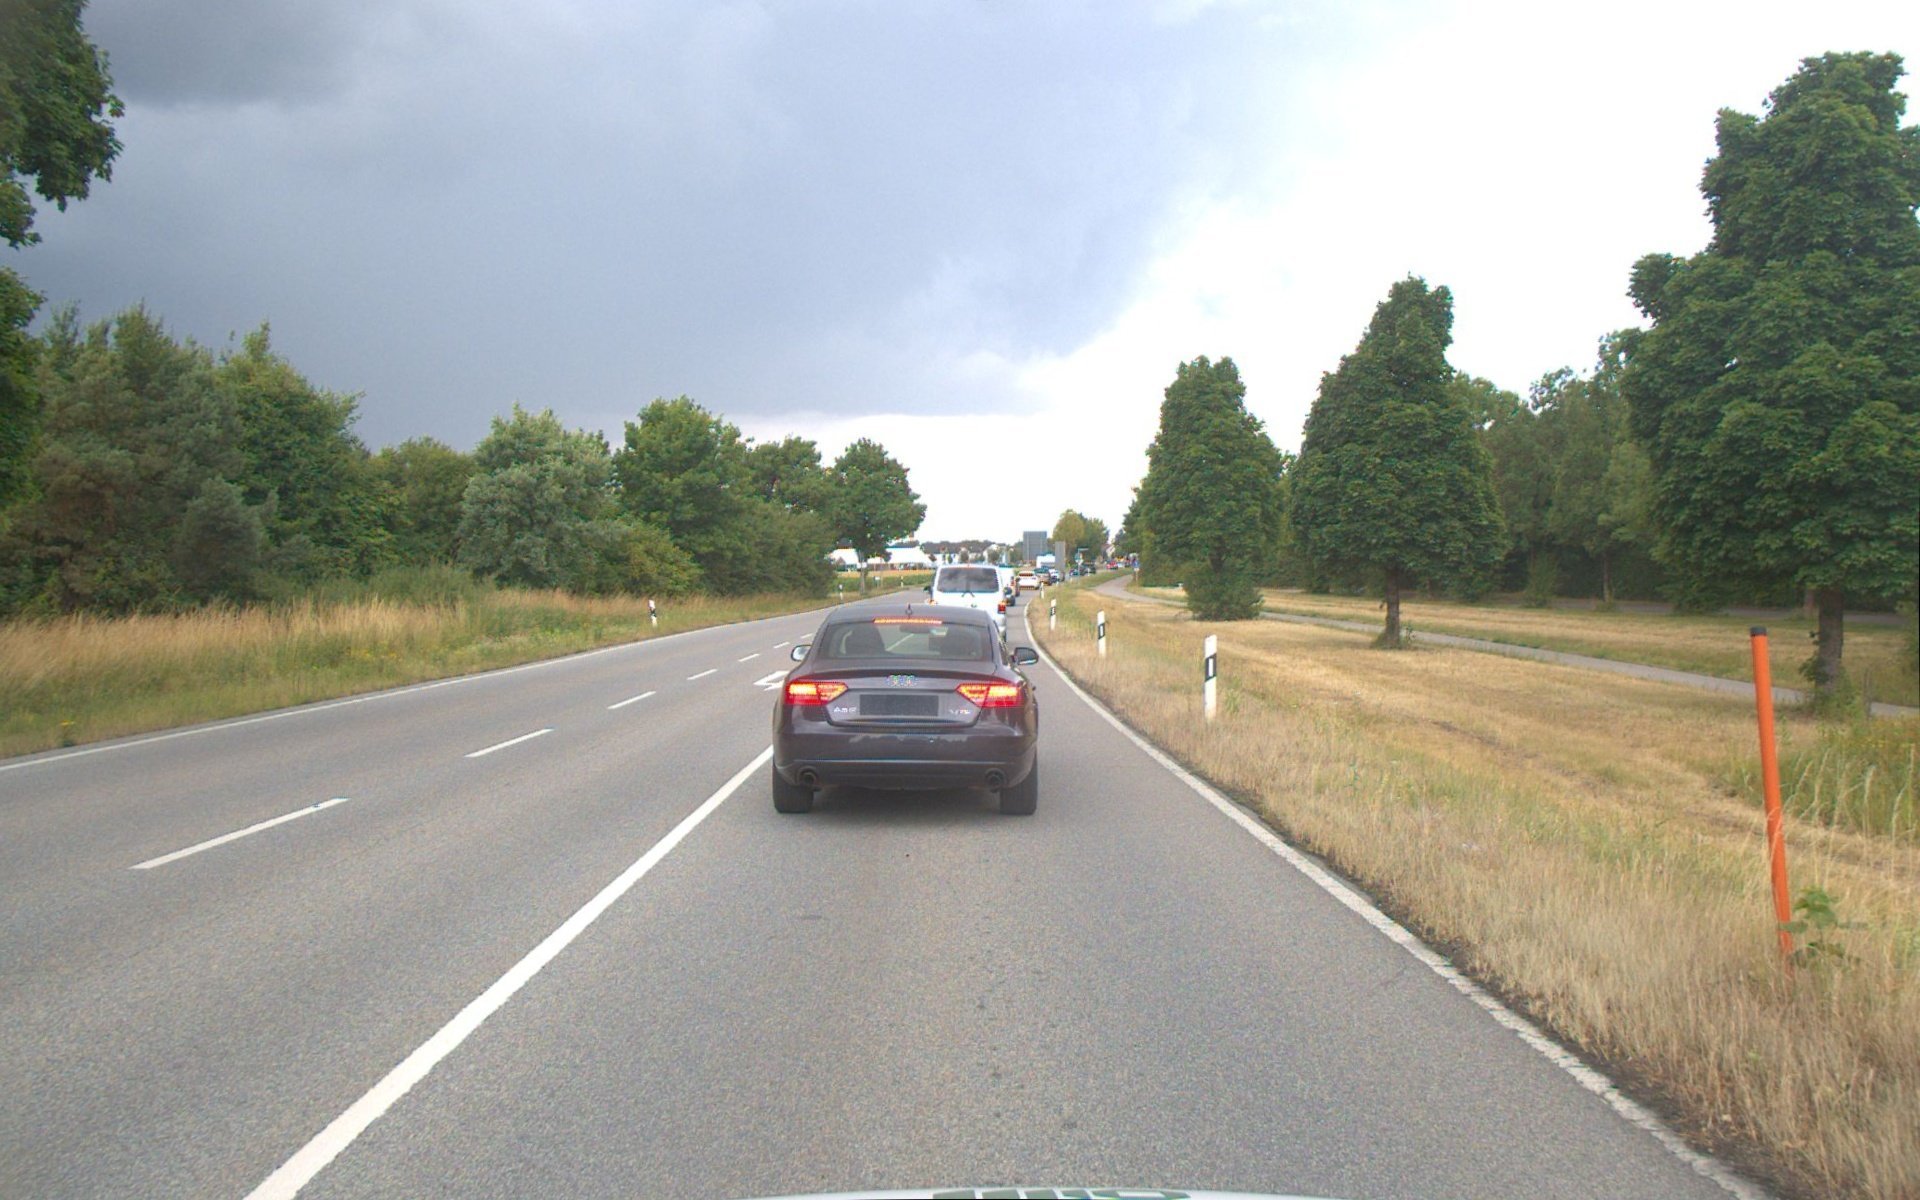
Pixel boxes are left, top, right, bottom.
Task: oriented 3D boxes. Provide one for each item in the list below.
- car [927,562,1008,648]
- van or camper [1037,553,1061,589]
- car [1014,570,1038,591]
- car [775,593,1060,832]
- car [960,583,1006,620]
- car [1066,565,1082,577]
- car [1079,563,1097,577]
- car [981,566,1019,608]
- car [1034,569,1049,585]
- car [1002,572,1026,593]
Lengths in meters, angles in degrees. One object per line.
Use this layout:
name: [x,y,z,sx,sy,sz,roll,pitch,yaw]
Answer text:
car: [0.122,0.078,39.531,1.801,1.915,3.999,1,1,-1]
van or camper: [8.892,-2.860,166.309,2.292,3.542,5.720,0,0,2]
car: [5.178,-1.506,128.597,1.699,1.541,3.749,0,1,5]
car: [-0.307,0.691,12.235,1.747,1.400,3.999,1,1,-1]
car: [0.961,0.049,67.751,1.758,1.489,3.249,0,1,2]
car: [14.595,-3.742,212.199,1.684,1.476,4.000,1,1,0]
car: [14.991,-3.508,193.917,1.784,1.624,4.000,1,1,0]
car: [2.086,-0.685,86.744,1.952,2.125,4.001,0,0,1]
car: [7.301,-2.058,147.486,1.231,1.377,3.468,0,1,5]
car: [3.521,-1.134,107.553,1.503,1.300,3.747,0,1,1]
